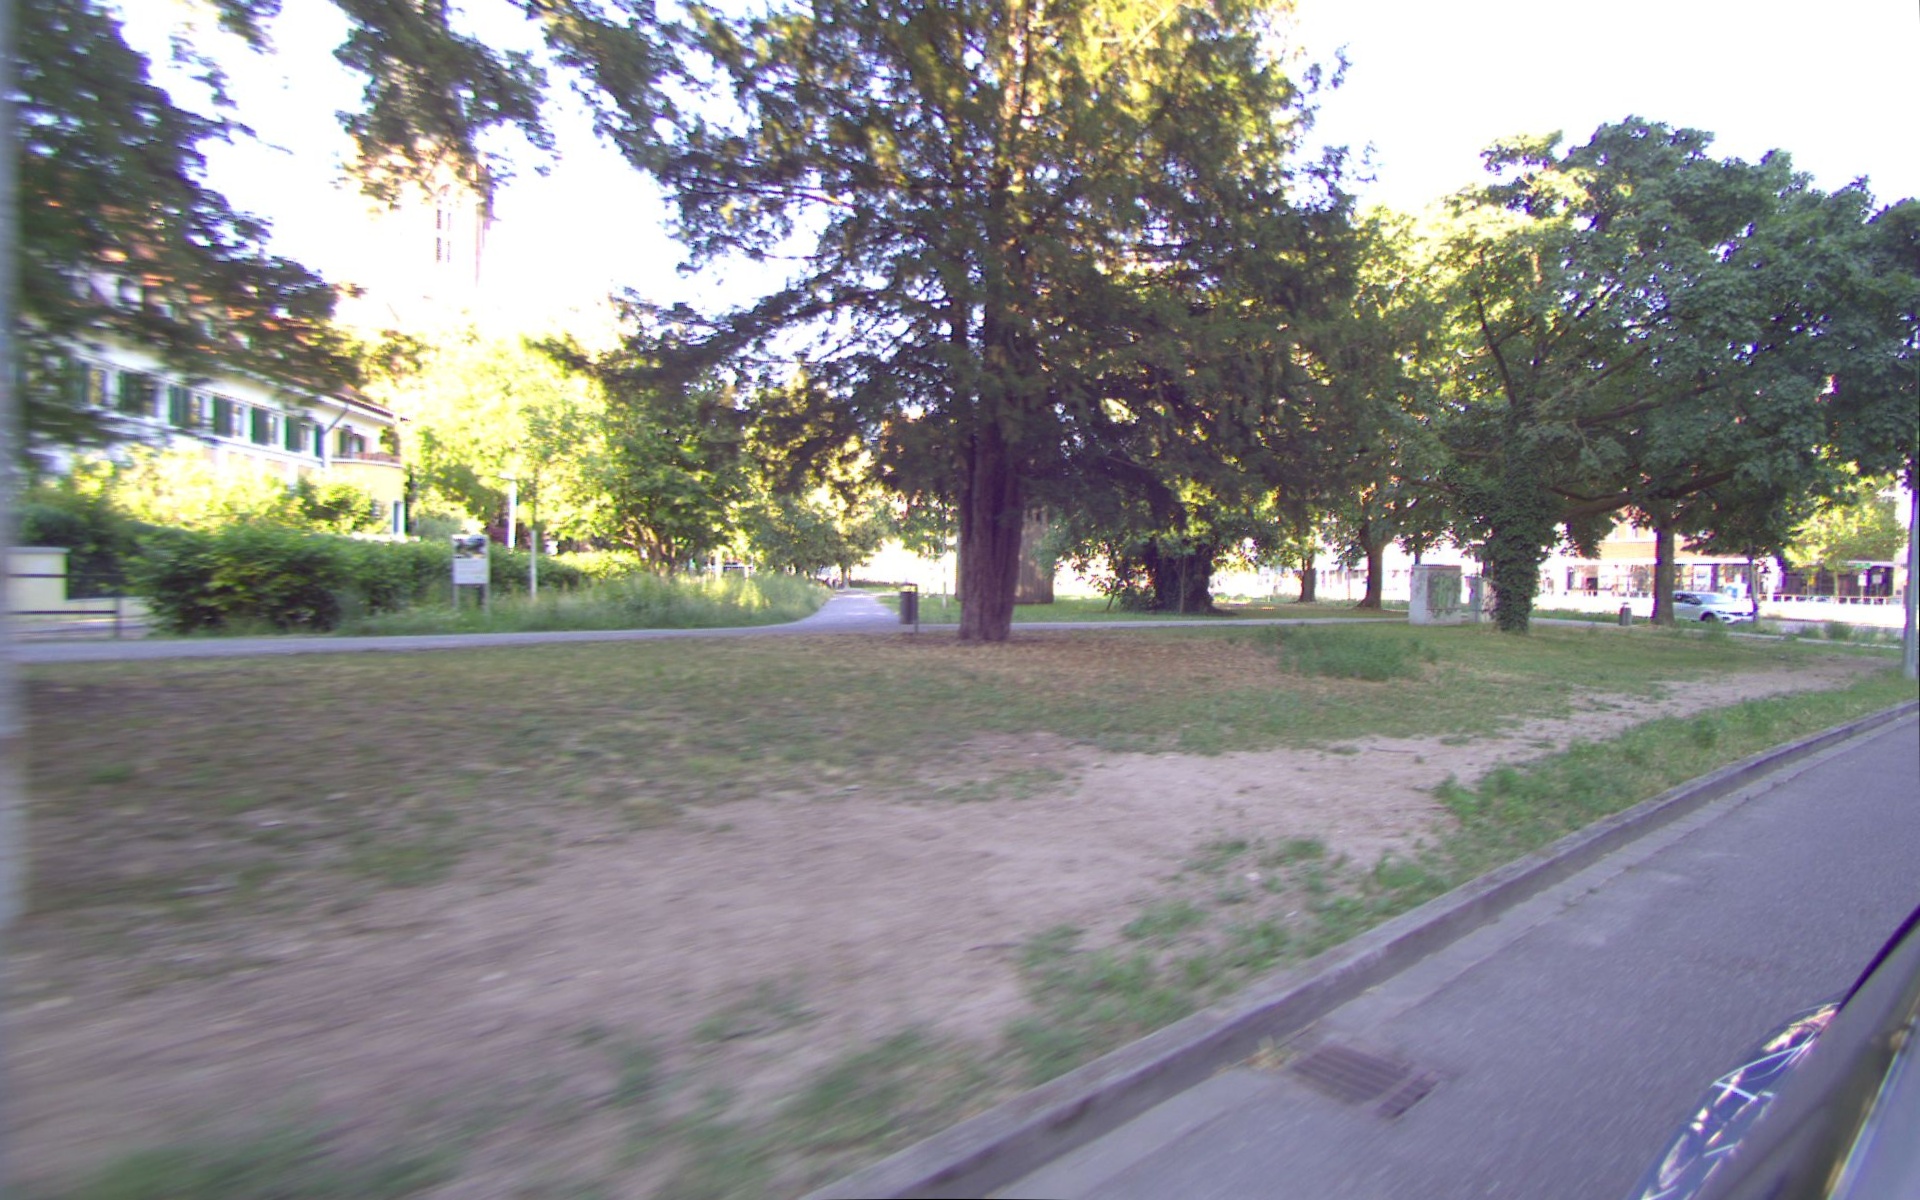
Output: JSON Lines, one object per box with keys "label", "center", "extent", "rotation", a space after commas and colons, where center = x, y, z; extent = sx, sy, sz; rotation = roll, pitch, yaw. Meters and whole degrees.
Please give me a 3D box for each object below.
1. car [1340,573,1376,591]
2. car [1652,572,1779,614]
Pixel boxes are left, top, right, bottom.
{"label": "car", "center": [48.405, -2.197, 123.275], "extent": [1.959, 2.038, 4.783], "rotation": [1, 2, -7]}
{"label": "car", "center": [30.914, -0.316, 41.577], "extent": [1.799, 1.556, 4.283], "rotation": [0, 2, -4]}
